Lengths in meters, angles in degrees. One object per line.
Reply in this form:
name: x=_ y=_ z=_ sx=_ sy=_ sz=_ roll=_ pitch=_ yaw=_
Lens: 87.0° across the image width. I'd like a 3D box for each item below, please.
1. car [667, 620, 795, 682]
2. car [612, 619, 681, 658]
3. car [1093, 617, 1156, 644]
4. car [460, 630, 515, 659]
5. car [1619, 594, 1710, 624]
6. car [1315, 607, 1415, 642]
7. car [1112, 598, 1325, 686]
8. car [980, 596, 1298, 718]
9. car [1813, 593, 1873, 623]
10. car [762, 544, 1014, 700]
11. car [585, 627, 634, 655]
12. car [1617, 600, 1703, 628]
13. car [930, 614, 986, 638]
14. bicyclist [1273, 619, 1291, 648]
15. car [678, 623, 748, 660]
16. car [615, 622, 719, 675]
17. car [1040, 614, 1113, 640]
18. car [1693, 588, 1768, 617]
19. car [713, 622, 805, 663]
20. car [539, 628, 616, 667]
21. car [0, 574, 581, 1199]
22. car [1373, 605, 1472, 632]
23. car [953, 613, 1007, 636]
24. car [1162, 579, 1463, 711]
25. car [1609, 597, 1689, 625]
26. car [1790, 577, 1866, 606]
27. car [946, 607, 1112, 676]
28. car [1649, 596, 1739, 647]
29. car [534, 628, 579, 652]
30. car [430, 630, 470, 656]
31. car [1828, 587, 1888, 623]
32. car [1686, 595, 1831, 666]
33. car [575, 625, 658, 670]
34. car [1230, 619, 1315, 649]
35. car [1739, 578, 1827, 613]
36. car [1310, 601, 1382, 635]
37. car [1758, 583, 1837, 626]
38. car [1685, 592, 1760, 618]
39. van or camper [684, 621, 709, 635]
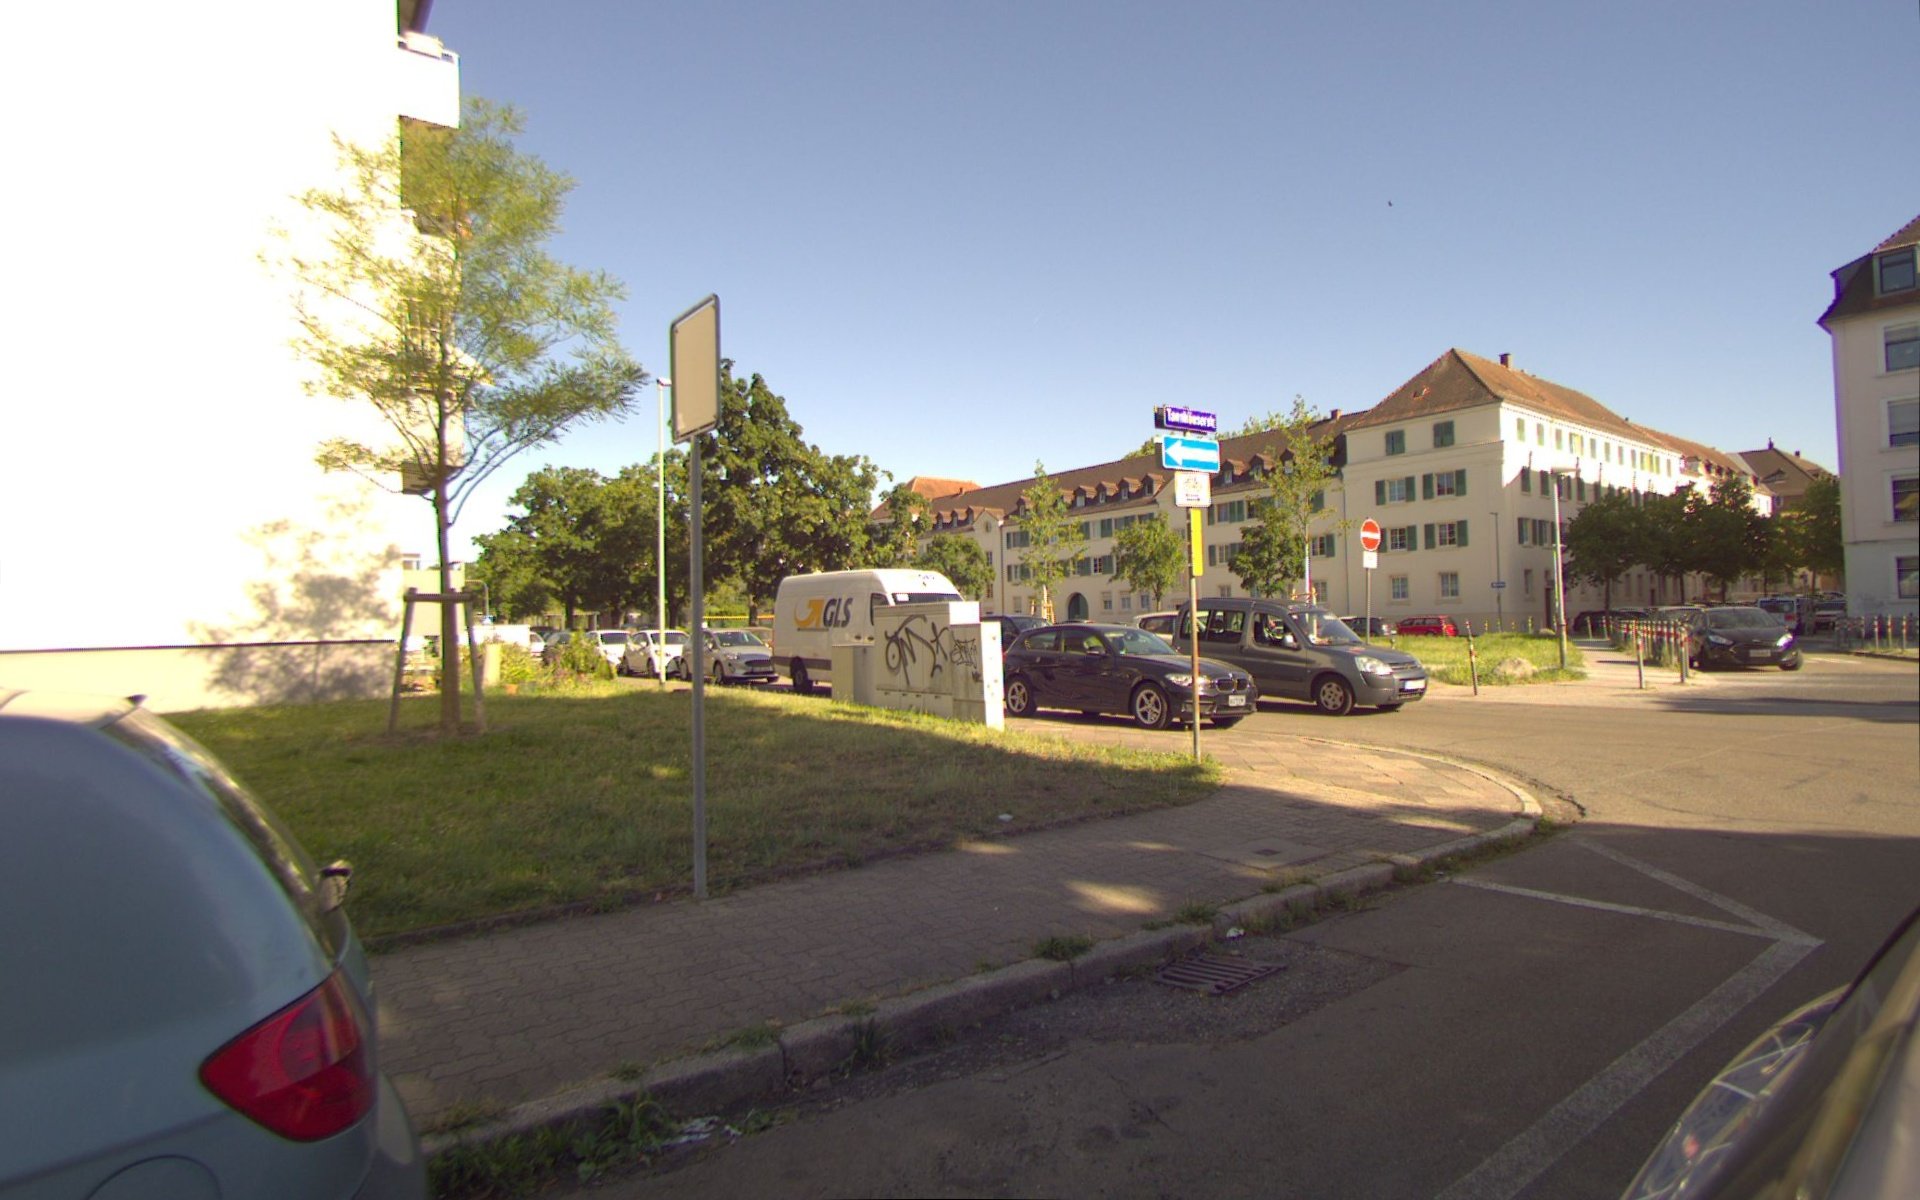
car: x=-6.355 y=1.371 z=27.744 sx=1.821 sy=1.484 sz=4.198 roll=-2 pitch=-1 yaw=-37
car: x=-15.730 y=1.880 z=50.652 sx=1.835 sy=1.807 sz=4.989 roll=0 pitch=-1 yaw=-36
car: x=11.598 y=2.163 z=71.563 sx=2.280 sy=1.773 sz=4.008 roll=-1 pitch=-1 yaw=-34
car: x=-26.374 y=2.472 z=56.425 sx=1.815 sy=1.492 sz=5.061 roll=-1 pitch=-2 yaw=-36
car: x=43.247 y=0.569 z=62.225 sx=1.676 sy=1.723 sz=4.237 roll=-1 pitch=-2 yaw=-38
car: x=22.530 y=1.403 z=56.408 sx=2.125 sy=1.844 sz=4.700 roll=-1 pitch=-2 yaw=-38
car: x=5.338 y=0.871 z=21.429 sx=1.728 sy=1.669 sz=4.286 roll=1 pitch=-3 yaw=-35
car: x=2.431 y=0.783 z=14.840 sx=1.928 sy=1.501 sz=4.495 roll=1 pitch=-3 yaw=-37
car: x=49.867 y=0.465 z=57.128 sx=3.814 sy=1.589 sz=1.935 roll=-1 pitch=-2 yaw=-40
car: x=-1.788 y=0.516 z=21.253 sx=2.108 sy=2.748 sz=6.839 roll=1 pitch=-3 yaw=-34
car: x=-19.283 y=2.235 z=55.580 sx=1.514 sy=1.447 sz=4.086 roll=0 pitch=-2 yaw=-35
car: x=40.099 y=0.816 z=58.055 sx=1.681 sy=1.541 sz=3.664 roll=-1 pitch=-2 yaw=-37
car: x=-0.233 y=2.267 z=87.954 sx=2.186 sy=2.010 sz=5.254 roll=-1 pitch=-2 yaw=-36
bicyclist: x=20.625 y=2.167 z=64.855 sx=0.662 sy=1.826 sz=0.801 roll=-1 pitch=-2 yaw=-37
car: x=-10.644 y=1.772 z=43.466 sx=1.562 sy=1.512 sz=3.682 roll=2 pitch=-3 yaw=-37
car: x=-9.171 y=1.477 z=31.488 sx=1.848 sy=1.494 sz=4.138 roll=0 pitch=-2 yaw=-35
car: x=8.633 y=2.054 z=75.669 sx=2.411 sy=1.844 sz=5.452 roll=-1 pitch=-1 yaw=-34
car: x=52.501 y=0.206 z=69.012 sx=1.922 sy=1.858 sz=3.707 roll=0 pitch=-2 yaw=-40
car: x=-7.990 y=1.673 z=39.904 sx=1.728 sy=1.511 sz=4.664 roll=2 pitch=-3 yaw=-37
car: x=-15.320 y=1.870 z=40.363 sx=1.673 sy=1.454 sz=4.467 roll=1 pitch=-3 yaw=-37
car: x=-2.524 y=0.735 z=0.836 sx=3.830 sy=1.447 sz=1.656 roll=-1 pitch=-2 yaw=-40
car: x=27.055 y=1.101 z=59.375 sx=1.963 sy=1.504 sz=4.955 roll=0 pitch=-2 yaw=-37
car: x=1.820 y=2.289 z=94.083 sx=2.187 sy=2.010 sz=5.252 roll=-1 pitch=-2 yaw=-38
car: x=5.447 y=0.692 z=16.137 sx=1.869 sy=1.813 sz=4.154 roll=-1 pitch=-2 yaw=-36
car: x=41.449 y=0.674 z=60.957 sx=1.678 sy=1.540 sz=3.610 roll=-1 pitch=-2 yaw=-40
car: x=78.987 y=-0.736 z=92.140 sx=1.922 sy=2.426 sz=4.948 roll=0 pitch=-2 yaw=-40
car: x=1.709 y=1.091 z=26.842 sx=1.814 sy=1.660 sz=4.712 roll=1 pitch=-3 yaw=-35
car: x=24.732 y=0.725 z=34.250 sx=1.912 sy=1.597 sz=4.302 roll=-2 pitch=-2 yaw=30
car: x=-26.118 y=2.565 z=65.440 sx=1.850 sy=1.437 sz=3.802 roll=0 pitch=-1 yaw=-35
car: x=-32.888 y=2.764 z=65.213 sx=1.742 sy=1.549 sz=4.556 roll=-1 pitch=-1 yaw=-35
car: x=53.572 y=0.267 z=60.339 sx=4.966 sy=1.999 sz=1.996 roll=-1 pitch=-2 yaw=-41
car: x=18.454 y=0.666 z=23.610 sx=1.903 sy=1.427 sz=4.302 roll=-5 pitch=-2 yaw=29
car: x=-12.236 y=1.658 z=35.899 sx=1.694 sy=1.454 sz=4.150 roll=0 pitch=-2 yaw=-36
car: x=20.919 y=2.280 z=67.977 sx=2.120 sy=1.910 sz=5.155 roll=-1 pitch=-2 yaw=-36
car: x=64.250 y=-0.309 z=79.058 sx=1.922 sy=2.551 sz=4.948 roll=0 pitch=-2 yaw=-40
car: x=24.174 y=1.159 z=63.432 sx=1.639 sy=2.039 sz=3.895 roll=0 pitch=-1 yaw=-36
car: x=41.763 y=0.213 z=50.445 sx=4.495 sy=2.039 sz=2.137 roll=-1 pitch=-2 yaw=-40
car: x=50.763 y=0.340 z=67.417 sx=1.800 sy=1.661 sz=3.610 roll=-1 pitch=-2 yaw=-40
van or camper: x=-39.172 y=4.118 z=150.385 sx=2.232 sy=2.039 sz=4.372 roll=-1 pitch=-1 yaw=-35
